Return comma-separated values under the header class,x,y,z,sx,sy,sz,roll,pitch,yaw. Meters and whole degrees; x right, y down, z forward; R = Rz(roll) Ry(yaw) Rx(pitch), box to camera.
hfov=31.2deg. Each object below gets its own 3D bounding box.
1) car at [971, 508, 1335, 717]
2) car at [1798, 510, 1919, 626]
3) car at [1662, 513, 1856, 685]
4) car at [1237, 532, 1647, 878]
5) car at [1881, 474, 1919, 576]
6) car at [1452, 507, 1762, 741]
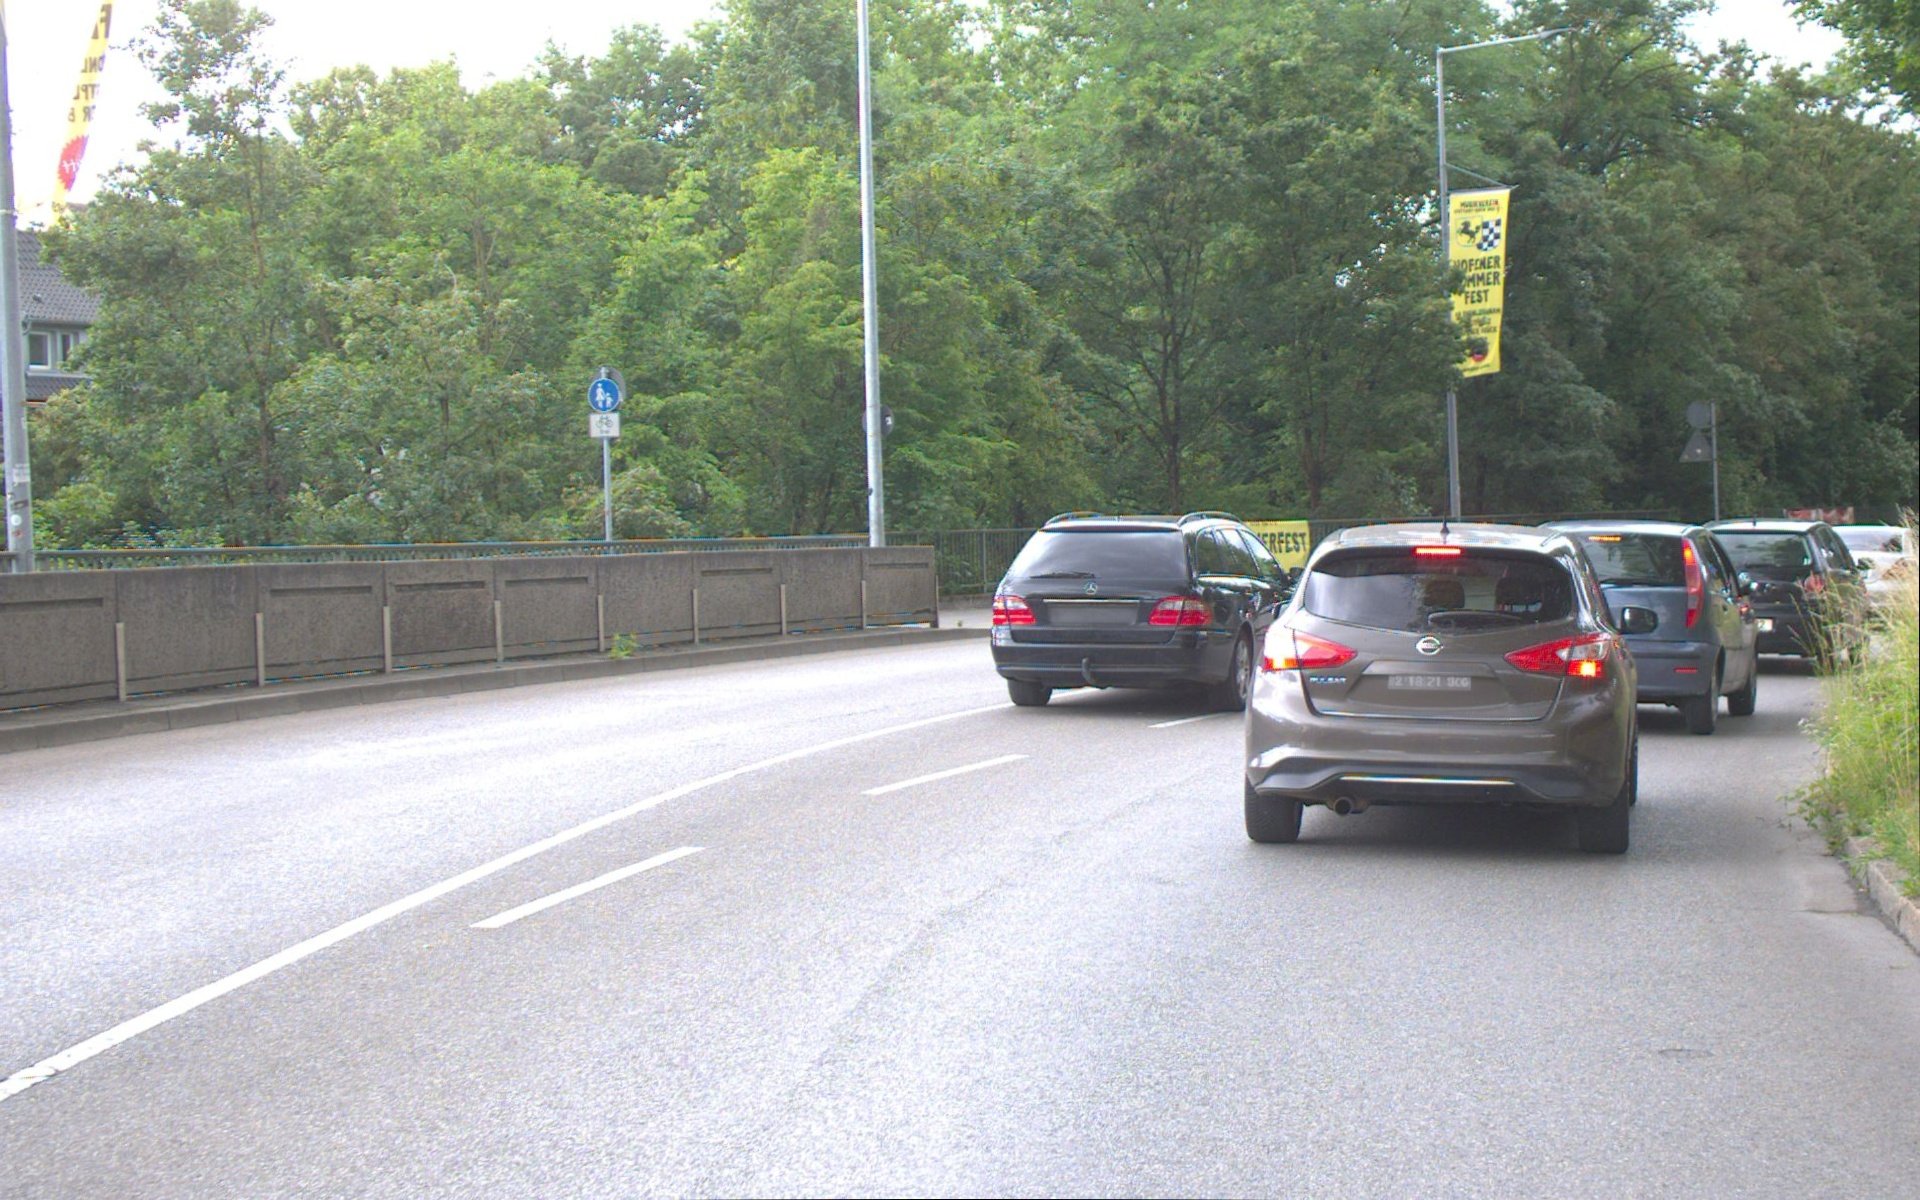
class,x,y,z,sx,sy,sz,roll,pitch,yaw
car,1.613,0.039,26.967,1.853,1.481,4.417,0,1,17
car,11.427,-0.416,42.790,1.502,1.360,3.584,-1,1,21
car,7.778,-0.035,33.261,1.579,1.533,3.997,-1,1,16
car,2.499,0.436,17.200,1.775,1.489,3.998,1,1,11
car,15.562,-1.153,53.704,1.806,1.535,3.996,1,1,21
car,4.838,0.138,25.310,1.894,1.568,3.997,0,1,16
